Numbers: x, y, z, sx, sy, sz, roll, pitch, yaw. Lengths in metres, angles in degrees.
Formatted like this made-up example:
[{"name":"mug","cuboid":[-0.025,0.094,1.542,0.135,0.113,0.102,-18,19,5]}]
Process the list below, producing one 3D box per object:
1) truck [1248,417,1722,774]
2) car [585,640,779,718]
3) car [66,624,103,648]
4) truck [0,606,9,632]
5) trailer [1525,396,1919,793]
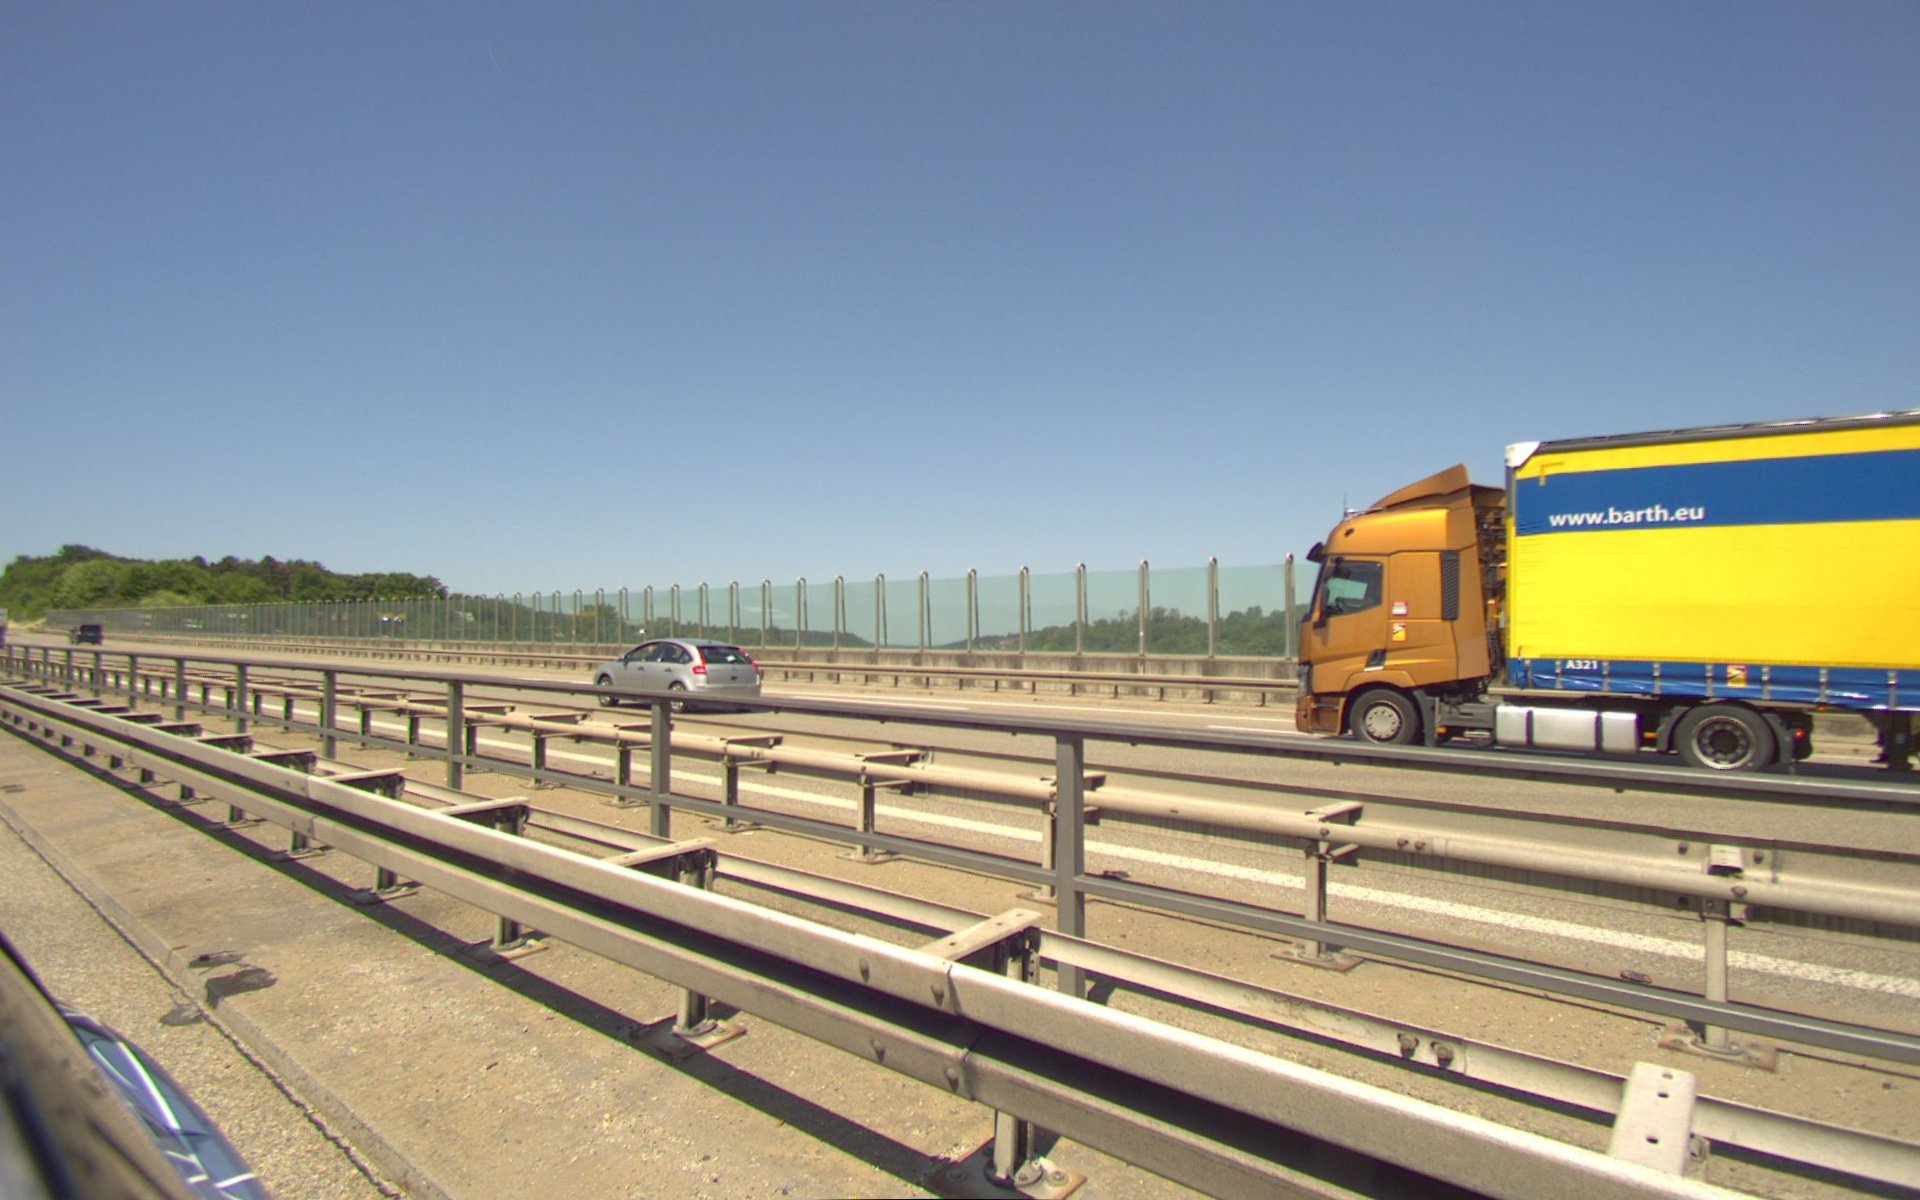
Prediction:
[{"name":"truck","cuboid":[7.212,0.012,14.329,5.540,4.089,2.389,-1,-3,41]},{"name":"car","cuboid":[-5.624,1.517,20.258,4.075,1.392,1.744,-2,-4,40]},{"name":"car","cuboid":[-79.620,3.263,91.989,3.967,2.029,1.995,-1,0,41]},{"name":"truck","cuboid":[-136.452,2.673,142.358,6.973,3.676,3.247,-1,0,41]},{"name":"trailer","cuboid":[13.165,-0.097,9.197,13.792,4.095,2.398,-2,-3,41]}]
